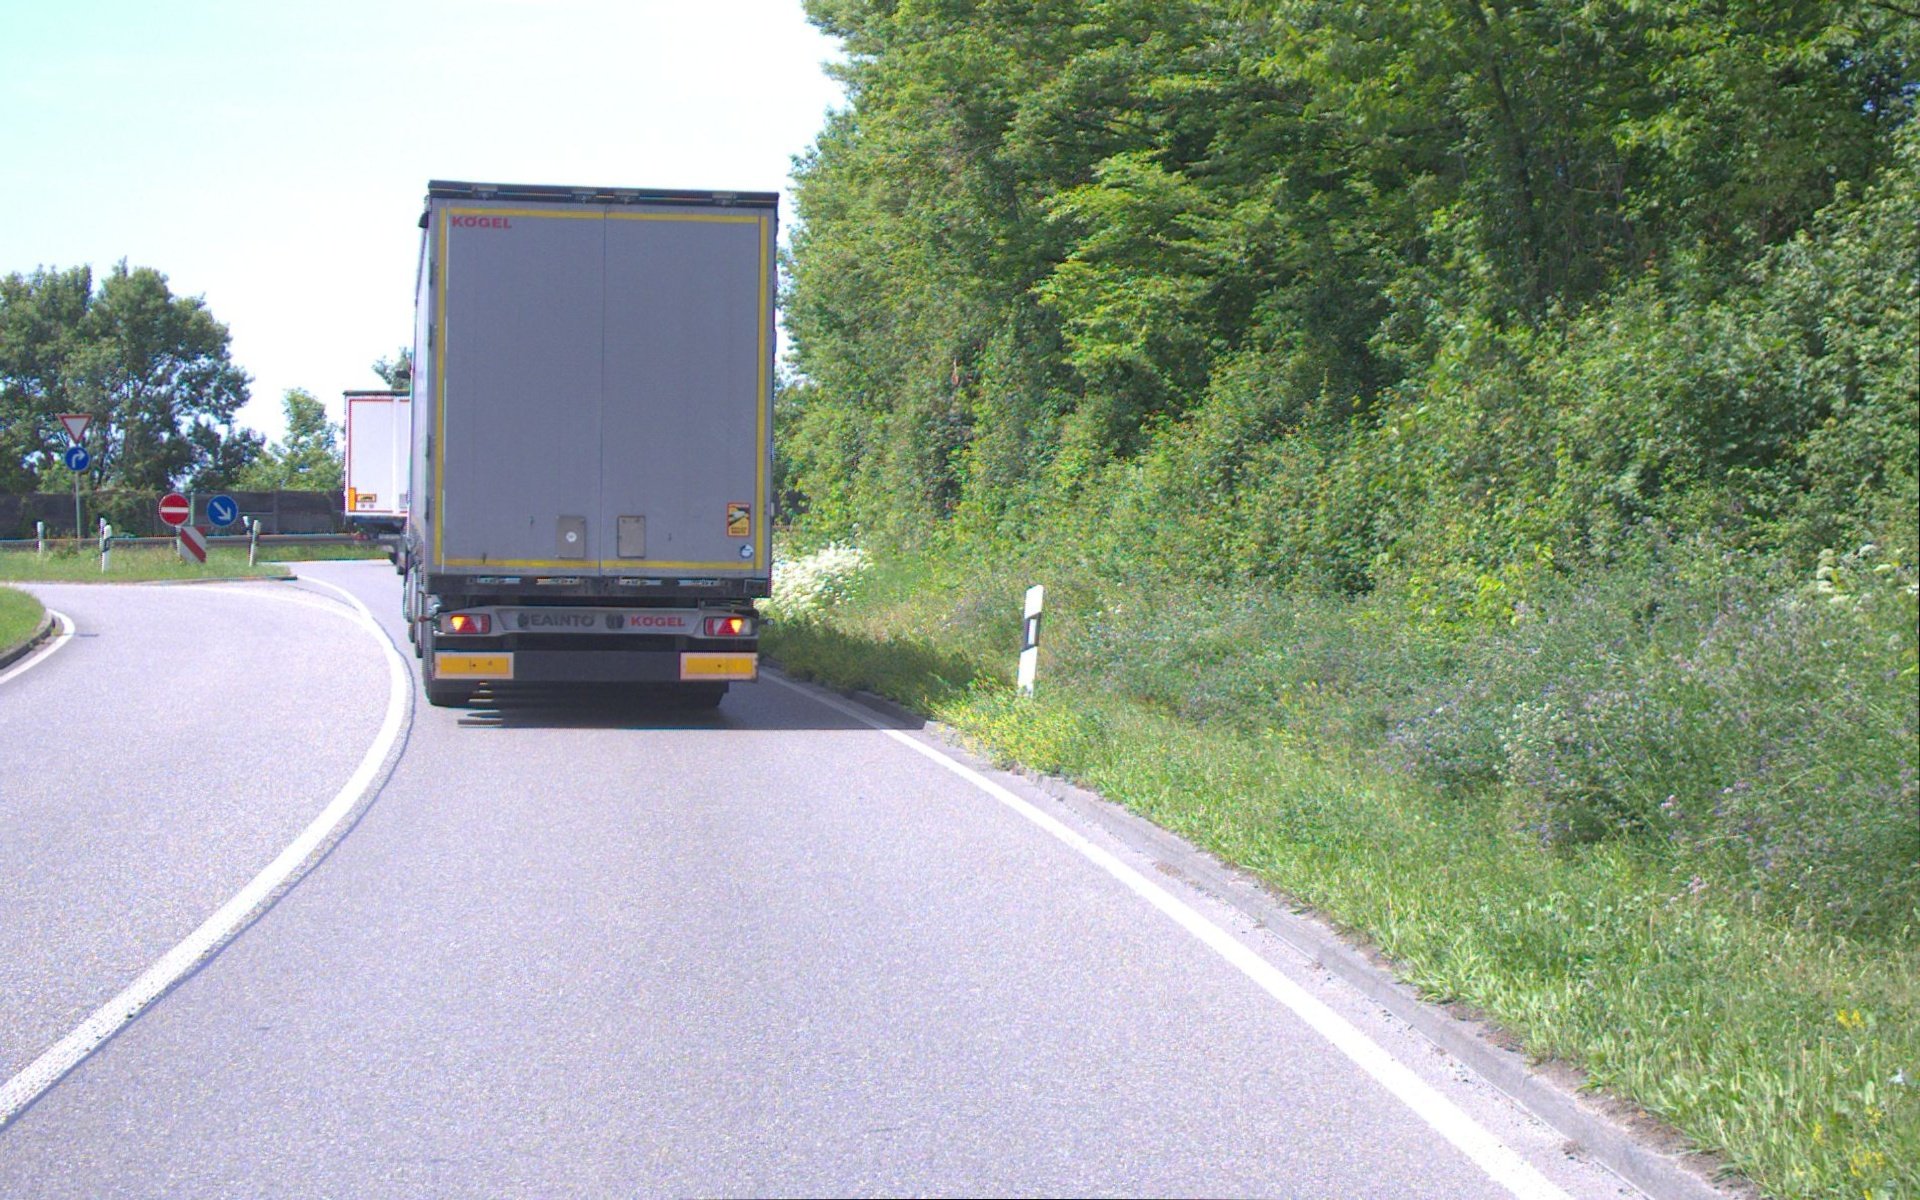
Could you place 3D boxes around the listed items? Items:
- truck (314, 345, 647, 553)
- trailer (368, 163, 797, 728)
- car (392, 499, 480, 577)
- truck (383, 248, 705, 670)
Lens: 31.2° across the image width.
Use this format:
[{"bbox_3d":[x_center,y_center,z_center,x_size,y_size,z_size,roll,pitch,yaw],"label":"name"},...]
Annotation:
[{"bbox_3d":[-11.702,-3.627,86.530,3.830,4.728,16.198,0,1,9],"label":"truck"},{"bbox_3d":[-3.679,-1.231,31.495,3.026,4.021,13.355,1,1,-8],"label":"trailer"},{"bbox_3d":[-10.370,-1.248,67.929,1.665,1.481,4.001,0,2,-9],"label":"car"},{"bbox_3d":[-4.683,-1.471,38.553,3.152,4.210,7.124,1,1,-7],"label":"truck"}]
